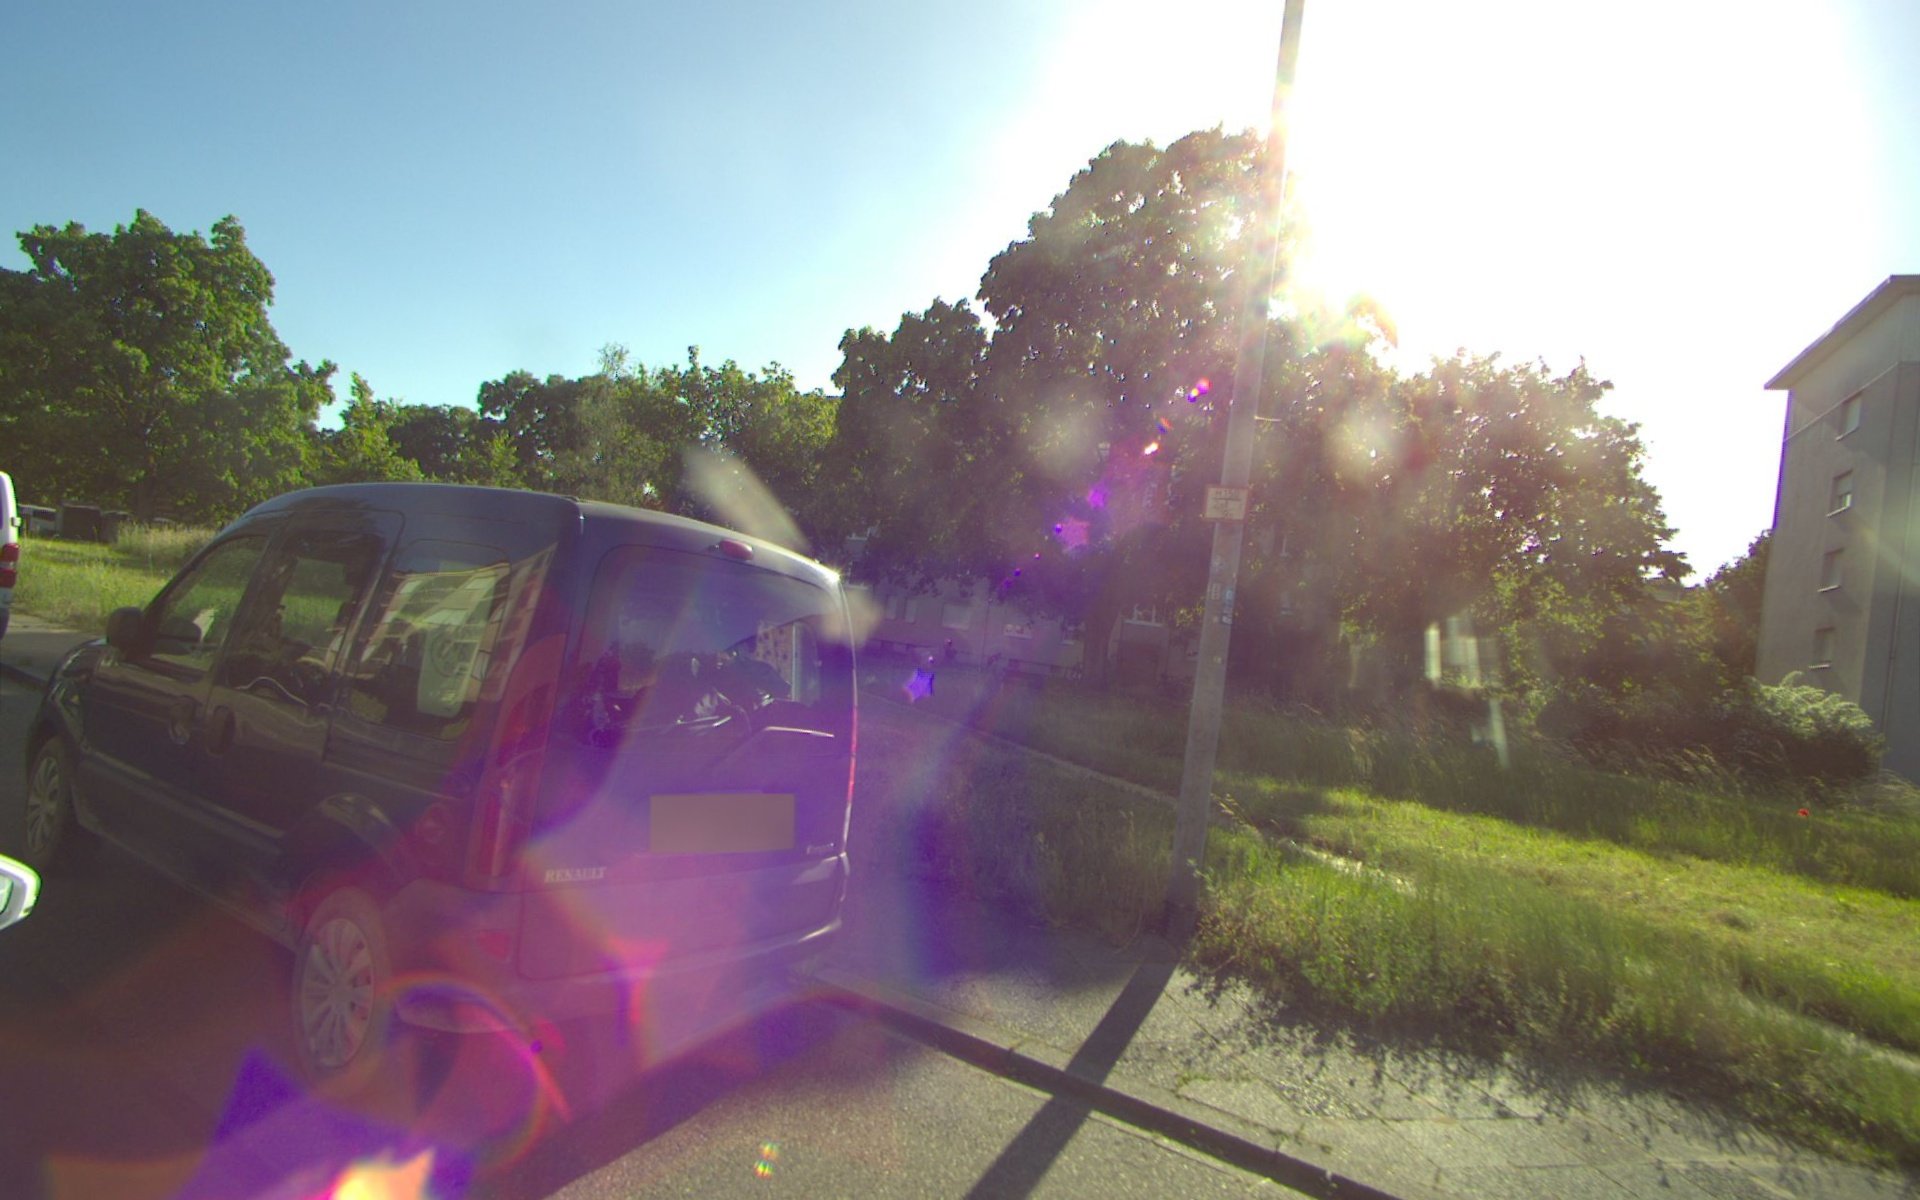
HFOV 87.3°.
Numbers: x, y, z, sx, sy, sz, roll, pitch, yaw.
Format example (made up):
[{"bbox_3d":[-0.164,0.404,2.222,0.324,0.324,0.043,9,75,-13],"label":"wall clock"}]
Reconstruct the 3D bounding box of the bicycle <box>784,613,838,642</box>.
[{"bbox_3d":[-8.300,1.521,56.054,2.645,1.219,0.941,8,-1,9],"label":"bicycle"}]

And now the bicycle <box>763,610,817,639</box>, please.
[{"bbox_3d":[-9.340,1.364,55.340,2.645,1.219,0.941,8,-1,9],"label":"bicycle"}]

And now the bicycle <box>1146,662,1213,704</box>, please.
[{"bbox_3d":[9.902,3.736,45.478,2.707,1.543,0.782,6,-1,26],"label":"bicycle"}]

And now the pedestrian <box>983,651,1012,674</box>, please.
[{"bbox_3d":[1.634,2.753,44.041,0.986,0.858,0.745,7,-1,25],"label":"pedestrian"}]

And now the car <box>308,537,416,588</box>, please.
[{"bbox_3d":[-32.944,-2.029,55.495,2.243,2.035,4.498,7,-2,43],"label":"car"}]

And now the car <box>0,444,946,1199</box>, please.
[{"bbox_3d":[-2.290,0.459,4.164,4.017,1.749,1.701,7,-3,33],"label":"car"}]

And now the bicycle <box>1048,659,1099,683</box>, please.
[{"bbox_3d":[5.414,3.393,47.928,2.266,0.821,0.693,7,-1,32],"label":"bicycle"}]

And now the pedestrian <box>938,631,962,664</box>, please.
[{"bbox_3d":[-0.493,2.281,48.424,0.753,1.474,0.757,7,-1,21],"label":"pedestrian"}]

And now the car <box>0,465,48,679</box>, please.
[{"bbox_3d":[-10.982,-0.577,9.617,4.785,1.892,1.920,7,-3,32],"label":"car"}]

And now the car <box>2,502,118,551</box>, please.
[{"bbox_3d":[-41.169,-3.345,46.049,1.803,1.596,3.681,7,-2,42],"label":"car"}]
